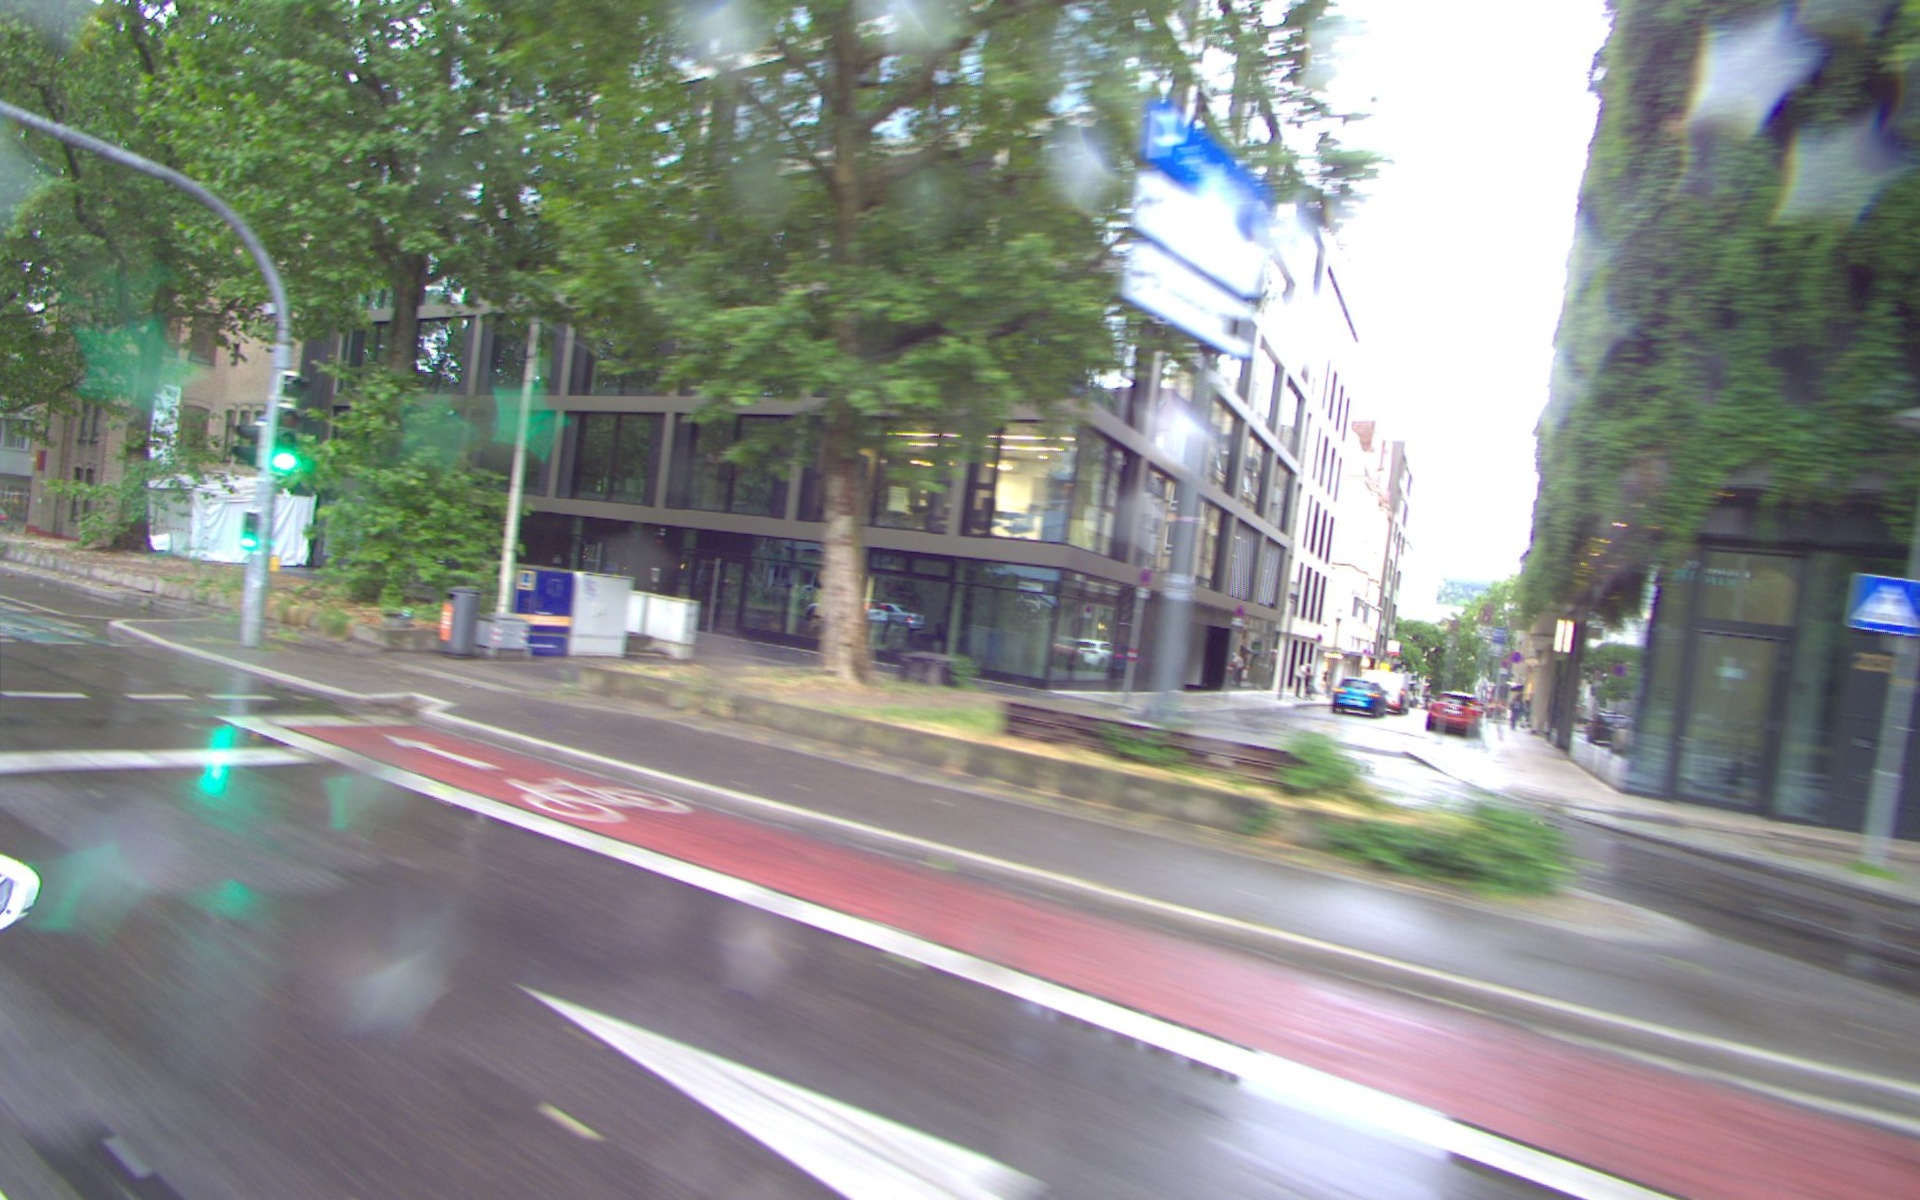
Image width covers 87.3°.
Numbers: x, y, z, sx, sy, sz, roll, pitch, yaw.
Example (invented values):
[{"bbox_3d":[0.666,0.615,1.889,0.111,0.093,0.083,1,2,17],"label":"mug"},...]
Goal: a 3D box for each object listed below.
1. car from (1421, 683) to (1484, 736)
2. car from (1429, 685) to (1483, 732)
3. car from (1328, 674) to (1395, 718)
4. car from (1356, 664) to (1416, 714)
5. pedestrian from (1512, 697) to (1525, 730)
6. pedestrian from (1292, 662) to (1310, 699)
[{"bbox_3d":[18.172,4.040,37.026,1.814,1.607,3.998,6,-3,29],"label":"car"},{"bbox_3d":[20.580,4.513,41.823,1.754,1.607,3.802,6,-3,26],"label":"car"},{"bbox_3d":[15.863,3.760,39.621,1.771,1.453,4.056,6,-1,30],"label":"car"},{"bbox_3d":[20.057,4.223,47.231,1.893,1.968,4.960,6,-3,30],"label":"car"},{"bbox_3d":[25.802,5.226,46.467,0.413,1.473,0.427,6,-2,29],"label":"pedestrian"},{"bbox_3d":[15.470,3.662,45.637,0.537,1.579,0.503,6,-2,28],"label":"pedestrian"}]
